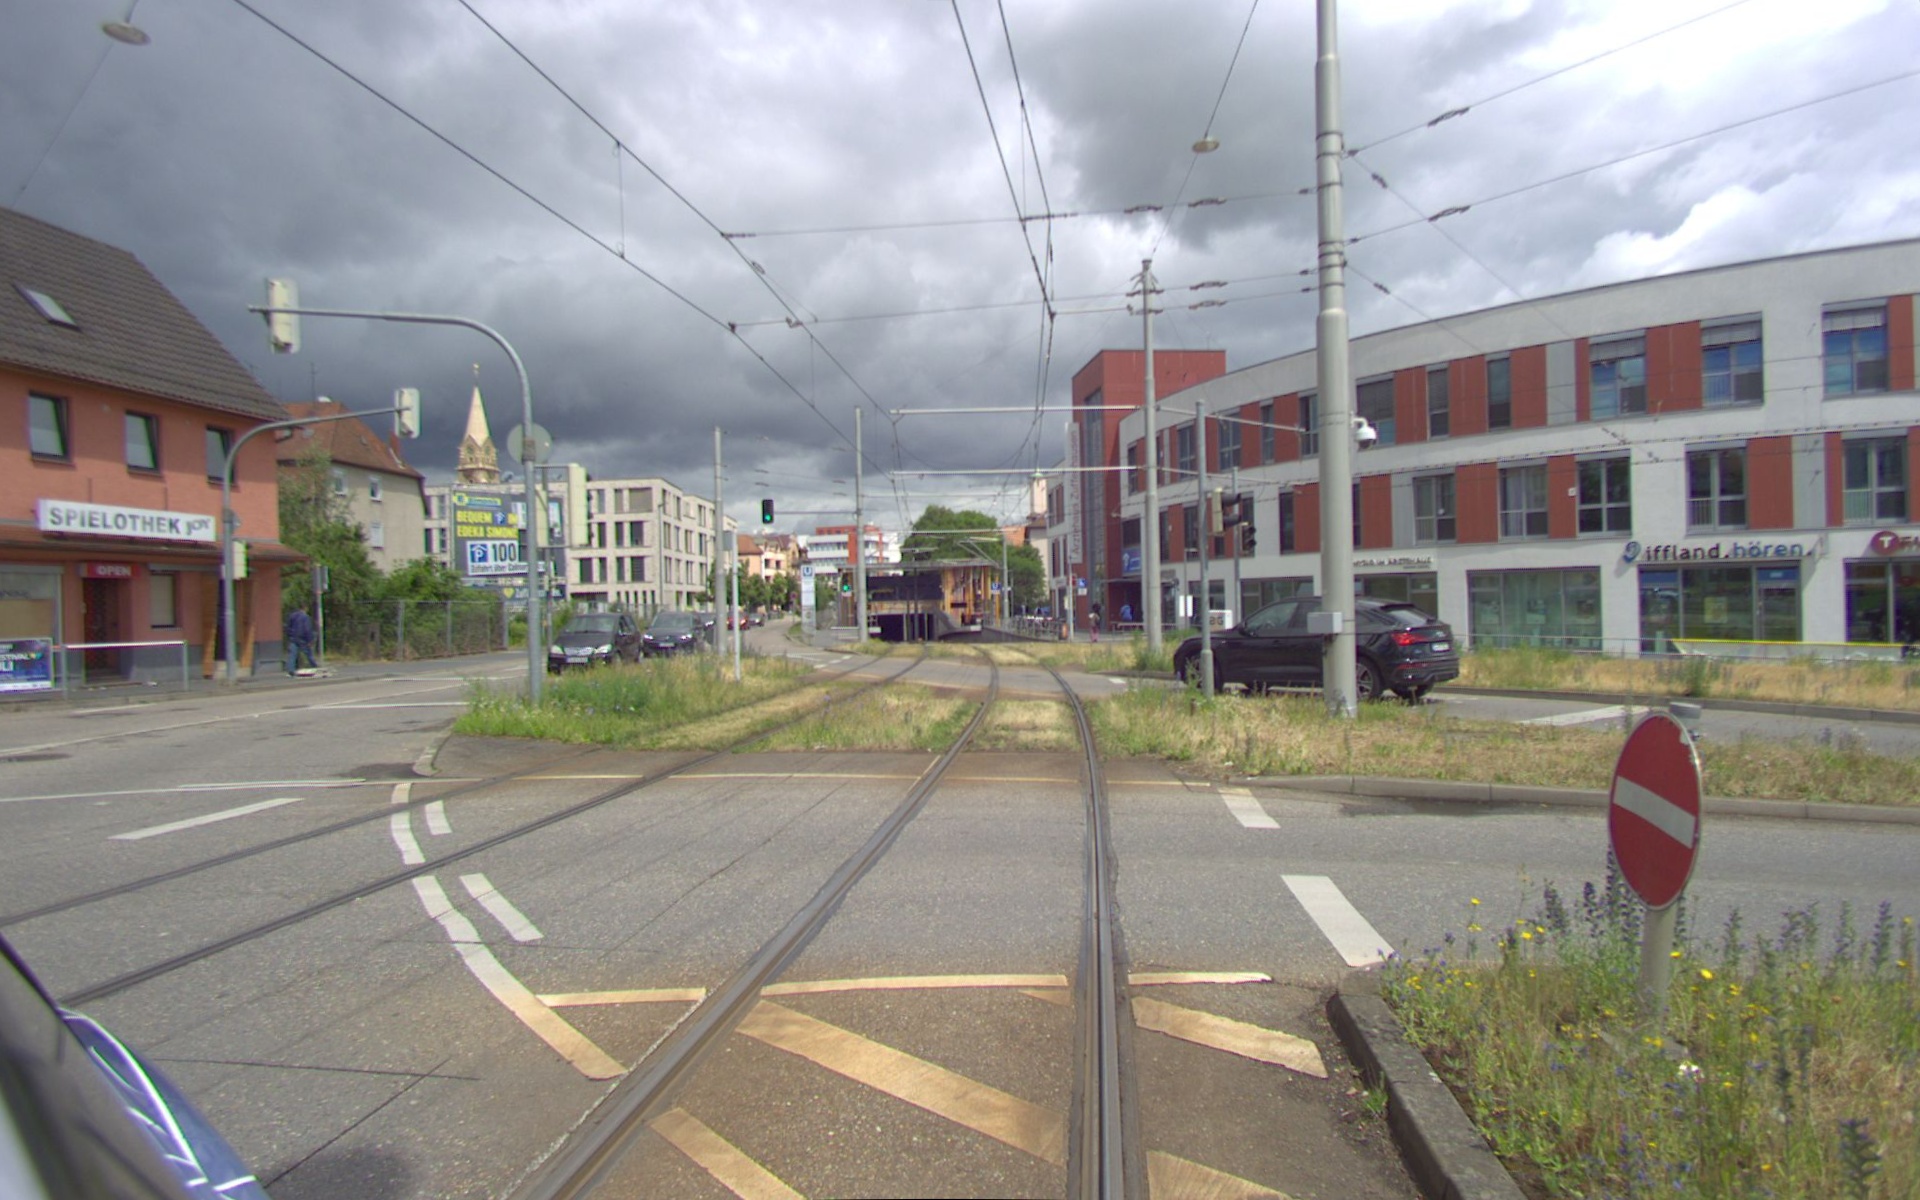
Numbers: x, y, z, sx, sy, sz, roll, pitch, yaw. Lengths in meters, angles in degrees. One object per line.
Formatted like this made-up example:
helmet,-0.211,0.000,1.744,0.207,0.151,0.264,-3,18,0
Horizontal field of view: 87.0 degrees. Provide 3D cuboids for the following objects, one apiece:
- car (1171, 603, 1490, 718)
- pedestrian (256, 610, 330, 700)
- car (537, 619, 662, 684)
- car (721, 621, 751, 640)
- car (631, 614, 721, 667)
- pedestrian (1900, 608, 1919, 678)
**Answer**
car,5.806,0.890,16.344,1.923,1.581,4.496,1,-2,-39
pedestrian,-16.483,1.333,25.049,1.040,2.164,1.125,-1,-1,9
car,-9.330,1.285,26.542,1.857,1.439,4.000,-2,0,0
car,-18.302,2.475,82.853,1.969,1.469,4.006,-2,0,-7
car,-10.112,1.407,36.413,1.972,1.662,4.419,-2,0,0
pedestrian,28.502,1.240,29.600,1.134,2.029,1.245,-1,-1,28
